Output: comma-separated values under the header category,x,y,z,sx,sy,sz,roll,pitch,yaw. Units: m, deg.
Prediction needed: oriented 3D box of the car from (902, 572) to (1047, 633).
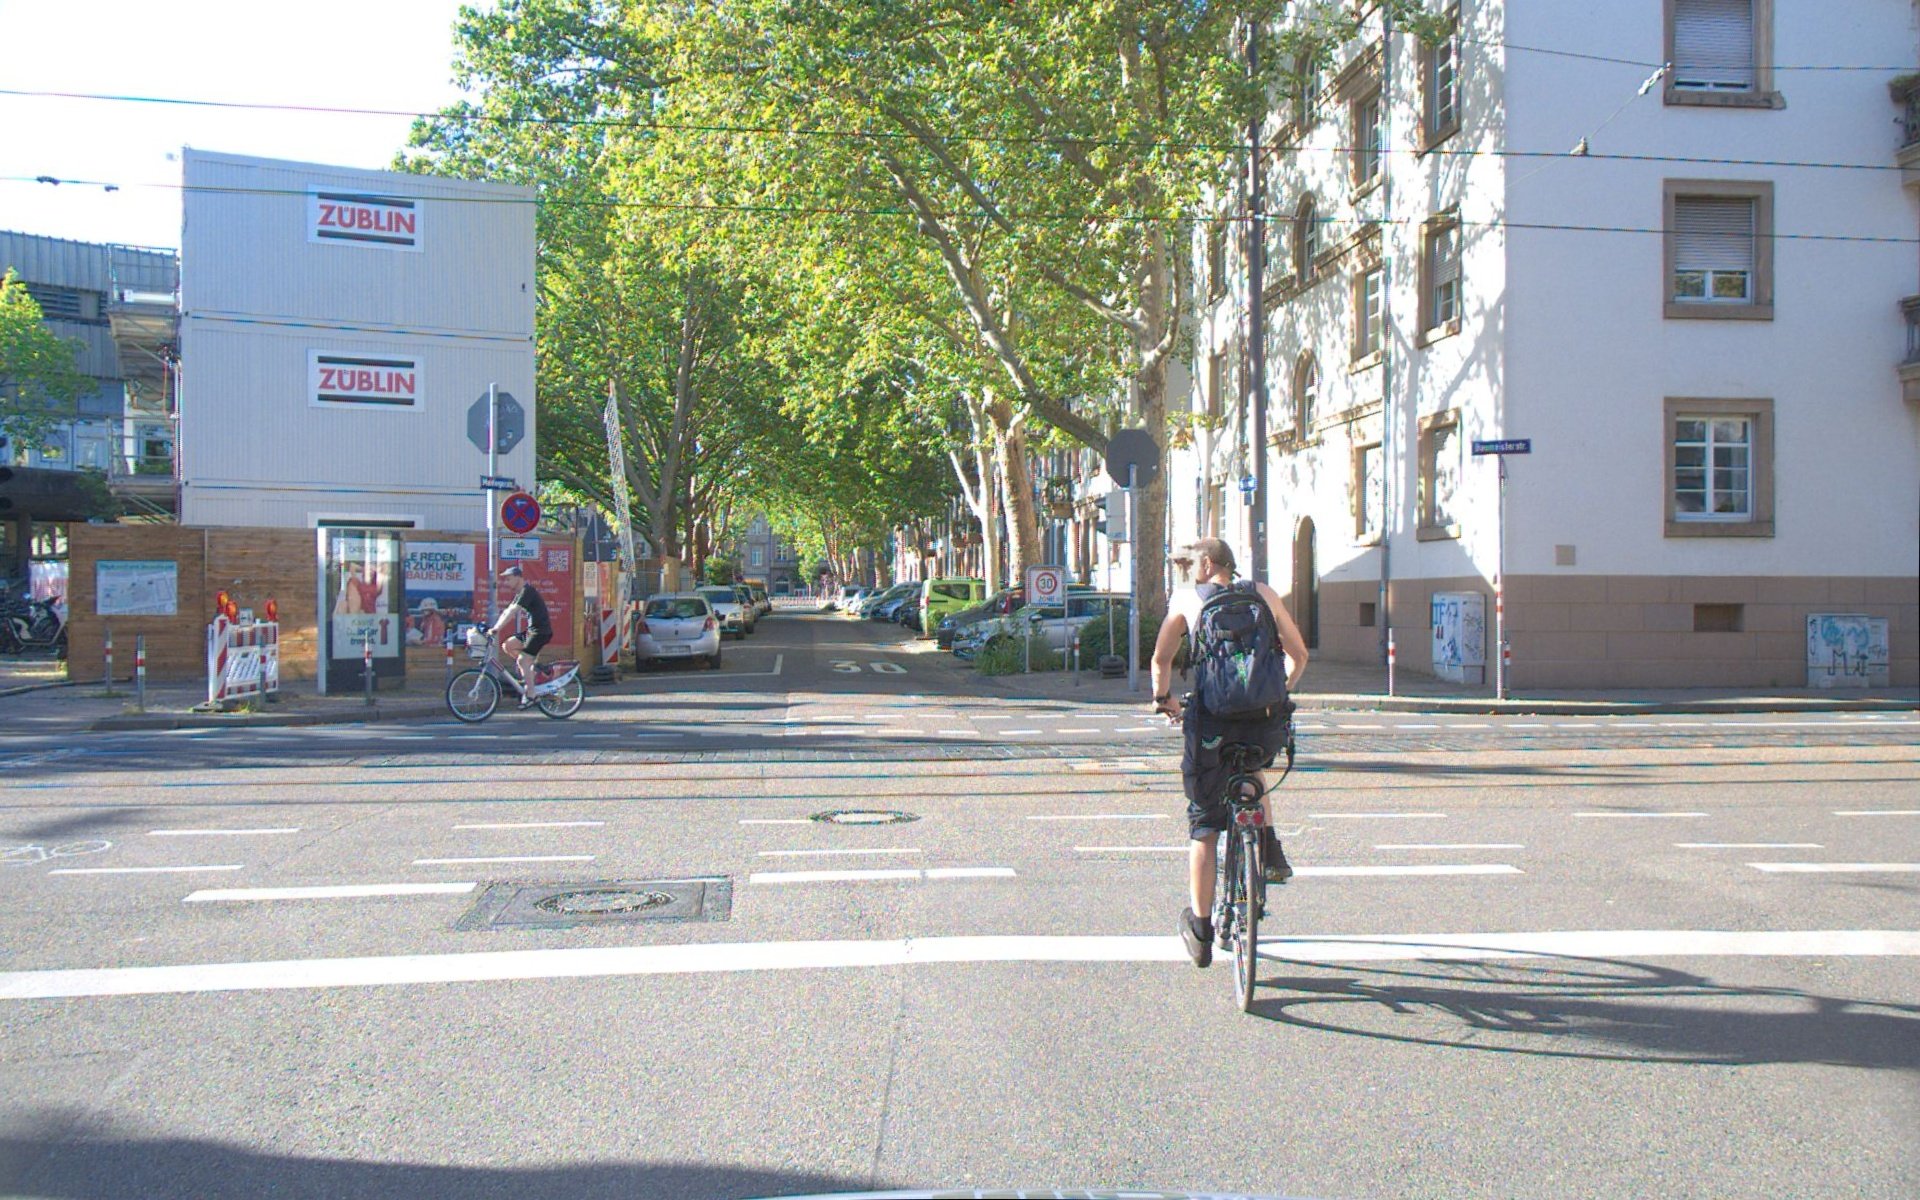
category,x,y,z,sx,sy,sz,roll,pitch,yaw
car,0.426,0.076,51.880,4.378,1.868,1.725,0,0,-8

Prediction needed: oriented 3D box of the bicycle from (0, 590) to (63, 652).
category,x,y,z,sx,sy,sz,roll,pitch,yaw
bicycle,-20.130,0.445,34.950,2.034,1.279,0.464,-1,1,-44

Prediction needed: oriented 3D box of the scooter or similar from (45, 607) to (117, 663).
category,x,y,z,sx,sy,sz,roll,pitch,yaw
scooter or similar,-17.406,0.678,32.780,0.376,1.038,1.489,0,1,12

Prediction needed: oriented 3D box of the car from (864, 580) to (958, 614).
category,x,y,z,sx,sy,sz,roll,pitch,yaw
car,-2.379,-0.138,79.828,4.377,1.598,1.725,0,0,-7

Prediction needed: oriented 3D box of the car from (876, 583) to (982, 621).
category,x,y,z,sx,sy,sz,roll,pitch,yaw
car,-1.347,0.061,70.334,4.377,1.598,1.725,0,0,-7

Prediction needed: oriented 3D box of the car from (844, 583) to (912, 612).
category,x,y,z,sx,sy,sz,roll,pitch,yaw
car,-5.470,-0.184,109.969,4.377,1.931,1.725,0,0,-7

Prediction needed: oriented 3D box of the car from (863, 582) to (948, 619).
category,x,y,z,sx,sy,sz,roll,pitch,yaw
car,-2.879,0.002,87.130,4.377,1.931,1.725,0,0,-7

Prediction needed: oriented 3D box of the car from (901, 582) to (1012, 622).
category,x,y,z,sx,sy,sz,roll,pitch,yaw
car,-0.166,0.055,67.248,4.377,1.598,1.725,0,0,-7

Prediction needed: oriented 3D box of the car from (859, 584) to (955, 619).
category,x,y,z,sx,sy,sz,roll,pitch,yaw
car,-2.509,0.051,77.483,4.377,1.598,1.725,0,0,-7

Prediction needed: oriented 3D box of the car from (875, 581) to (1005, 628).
category,x,y,z,sx,sy,sz,roll,pitch,yaw
car,-0.715,0.153,57.738,4.377,1.598,1.725,0,0,-7

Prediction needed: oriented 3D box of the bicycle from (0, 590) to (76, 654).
category,x,y,z,sx,sy,sz,roll,pitch,yaw
bicycle,-19.473,0.450,34.240,2.034,1.279,0.464,-1,1,-44

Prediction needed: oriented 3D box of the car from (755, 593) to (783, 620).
category,x,y,z,sx,sy,sz,roll,pitch,yaw
car,-11.804,0.406,101.862,1.634,1.590,4.212,0,0,-8

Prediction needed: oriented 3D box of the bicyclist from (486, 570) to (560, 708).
category,x,y,z,sx,sy,sz,roll,pitch,yaw
bicyclist,-5.474,0.471,20.710,0.799,1.687,0.677,0,0,-24

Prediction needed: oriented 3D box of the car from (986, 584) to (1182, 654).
category,x,y,z,sx,sy,sz,roll,pitch,yaw
car,2.890,0.426,38.947,4.377,1.598,1.725,0,0,-7

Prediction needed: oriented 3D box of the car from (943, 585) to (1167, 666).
category,x,y,z,sx,sy,sz,roll,pitch,yaw
car,1.919,0.495,33.986,4.377,1.598,1.725,0,0,-7

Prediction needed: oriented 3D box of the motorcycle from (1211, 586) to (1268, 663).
category,x,y,z,sx,sy,sz,roll,pitch,yaw
motorcycle,5.081,0.431,30.169,0.504,1.356,1.760,0,1,-8

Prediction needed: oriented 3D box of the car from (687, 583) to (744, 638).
category,x,y,z,sx,sy,sz,roll,pitch,yaw
car,-7.360,0.297,49.947,1.634,1.590,3.993,0,0,-8

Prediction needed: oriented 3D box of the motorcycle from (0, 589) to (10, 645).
category,x,y,z,sx,sy,sz,roll,pitch,yaw
motorcycle,-22.959,0.403,37.723,2.195,1.279,0.534,-1,1,-44

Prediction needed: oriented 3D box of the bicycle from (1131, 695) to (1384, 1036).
category,x,y,z,sx,sy,sz,roll,pitch,yaw
bicycle,1.121,0.967,6.632,0.675,1.034,1.907,1,0,1

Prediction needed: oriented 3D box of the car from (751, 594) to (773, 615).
category,x,y,z,sx,sy,sz,roll,pitch,yaw
car,-15.894,0.346,132.574,1.634,1.590,4.212,0,0,-8

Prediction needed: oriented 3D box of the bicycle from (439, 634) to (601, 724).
category,x,y,z,sx,sy,sz,roll,pitch,yaw
bicycle,-5.503,0.970,20.697,1.890,1.036,0.677,0,0,-25

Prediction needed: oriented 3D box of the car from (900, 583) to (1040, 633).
category,x,y,z,sx,sy,sz,roll,pitch,yaw
car,0.307,0.242,53.894,4.377,1.598,1.725,0,0,-7

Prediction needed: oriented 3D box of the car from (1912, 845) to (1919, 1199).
category,x,y,z,sx,sy,sz,roll,pitch,yaw
car,2.666,0.706,0.986,1.724,1.691,4.196,1,0,-1

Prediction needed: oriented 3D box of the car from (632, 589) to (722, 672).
category,x,y,z,sx,sy,sz,roll,pitch,yaw
car,-5.750,0.568,33.915,1.613,1.520,3.993,-2,1,-8

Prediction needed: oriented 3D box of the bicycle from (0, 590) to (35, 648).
category,x,y,z,sx,sy,sz,roll,pitch,yaw
bicycle,-21.942,0.432,37.102,2.034,1.279,0.534,-1,1,-44

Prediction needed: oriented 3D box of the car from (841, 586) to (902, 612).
category,x,y,z,sx,sy,sz,roll,pitch,yaw
car,-6.522,-0.092,121.843,4.377,1.931,1.725,0,0,-7

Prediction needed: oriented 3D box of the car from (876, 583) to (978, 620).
category,x,y,z,sx,sy,sz,roll,pitch,yaw
car,-1.477,0.062,72.807,4.377,1.598,1.725,0,0,-7

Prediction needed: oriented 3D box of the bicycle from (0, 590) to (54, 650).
category,x,y,z,sx,sy,sz,roll,pitch,yaw
bicycle,-20.785,0.441,35.770,2.034,1.279,0.534,-1,1,-44

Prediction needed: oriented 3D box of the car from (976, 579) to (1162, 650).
category,x,y,z,sx,sy,sz,roll,pitch,yaw
car,2.664,0.347,41.019,4.377,1.700,1.725,0,0,-7

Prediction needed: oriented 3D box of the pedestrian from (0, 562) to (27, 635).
category,x,y,z,sx,sy,sz,roll,pitch,yaw
pedestrian,-26.938,-0.059,46.933,0.792,2.049,1.020,0,1,-30

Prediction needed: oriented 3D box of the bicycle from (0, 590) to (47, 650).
category,x,y,z,sx,sy,sz,roll,pitch,yaw
bicycle,-21.183,0.437,36.197,2.034,1.279,0.534,-1,1,-44

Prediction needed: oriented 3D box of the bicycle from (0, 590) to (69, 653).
category,x,y,z,sx,sy,sz,roll,pitch,yaw
bicycle,-19.807,0.448,34.572,2.034,1.279,0.464,-1,1,-44

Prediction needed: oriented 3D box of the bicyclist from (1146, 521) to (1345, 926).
category,x,y,z,sx,sy,sz,roll,pitch,yaw
bicyclist,1.134,0.474,6.687,0.662,1.539,0.669,1,0,1

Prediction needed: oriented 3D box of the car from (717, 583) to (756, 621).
category,x,y,z,sx,sy,sz,roll,pitch,yaw
car,-9.750,0.076,72.250,1.634,1.590,4.608,0,0,-8

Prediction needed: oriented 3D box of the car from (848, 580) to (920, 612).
category,x,y,z,sx,sy,sz,roll,pitch,yaw
car,-4.742,-0.268,102.580,4.377,1.931,1.725,0,0,-7

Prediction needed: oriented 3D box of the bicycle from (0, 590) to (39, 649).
category,x,y,z,sx,sy,sz,roll,pitch,yaw
bicycle,-21.588,0.434,36.631,2.034,1.279,0.534,-1,1,-44

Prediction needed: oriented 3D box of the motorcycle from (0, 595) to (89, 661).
category,x,y,z,sx,sy,sz,roll,pitch,yaw
motorcycle,-18.835,0.550,33.362,2.195,1.279,0.534,-1,1,-44

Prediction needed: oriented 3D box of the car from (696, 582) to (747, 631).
category,x,y,z,sx,sy,sz,roll,pitch,yaw
car,-7.985,0.181,55.607,1.634,1.590,4.511,0,0,-8
